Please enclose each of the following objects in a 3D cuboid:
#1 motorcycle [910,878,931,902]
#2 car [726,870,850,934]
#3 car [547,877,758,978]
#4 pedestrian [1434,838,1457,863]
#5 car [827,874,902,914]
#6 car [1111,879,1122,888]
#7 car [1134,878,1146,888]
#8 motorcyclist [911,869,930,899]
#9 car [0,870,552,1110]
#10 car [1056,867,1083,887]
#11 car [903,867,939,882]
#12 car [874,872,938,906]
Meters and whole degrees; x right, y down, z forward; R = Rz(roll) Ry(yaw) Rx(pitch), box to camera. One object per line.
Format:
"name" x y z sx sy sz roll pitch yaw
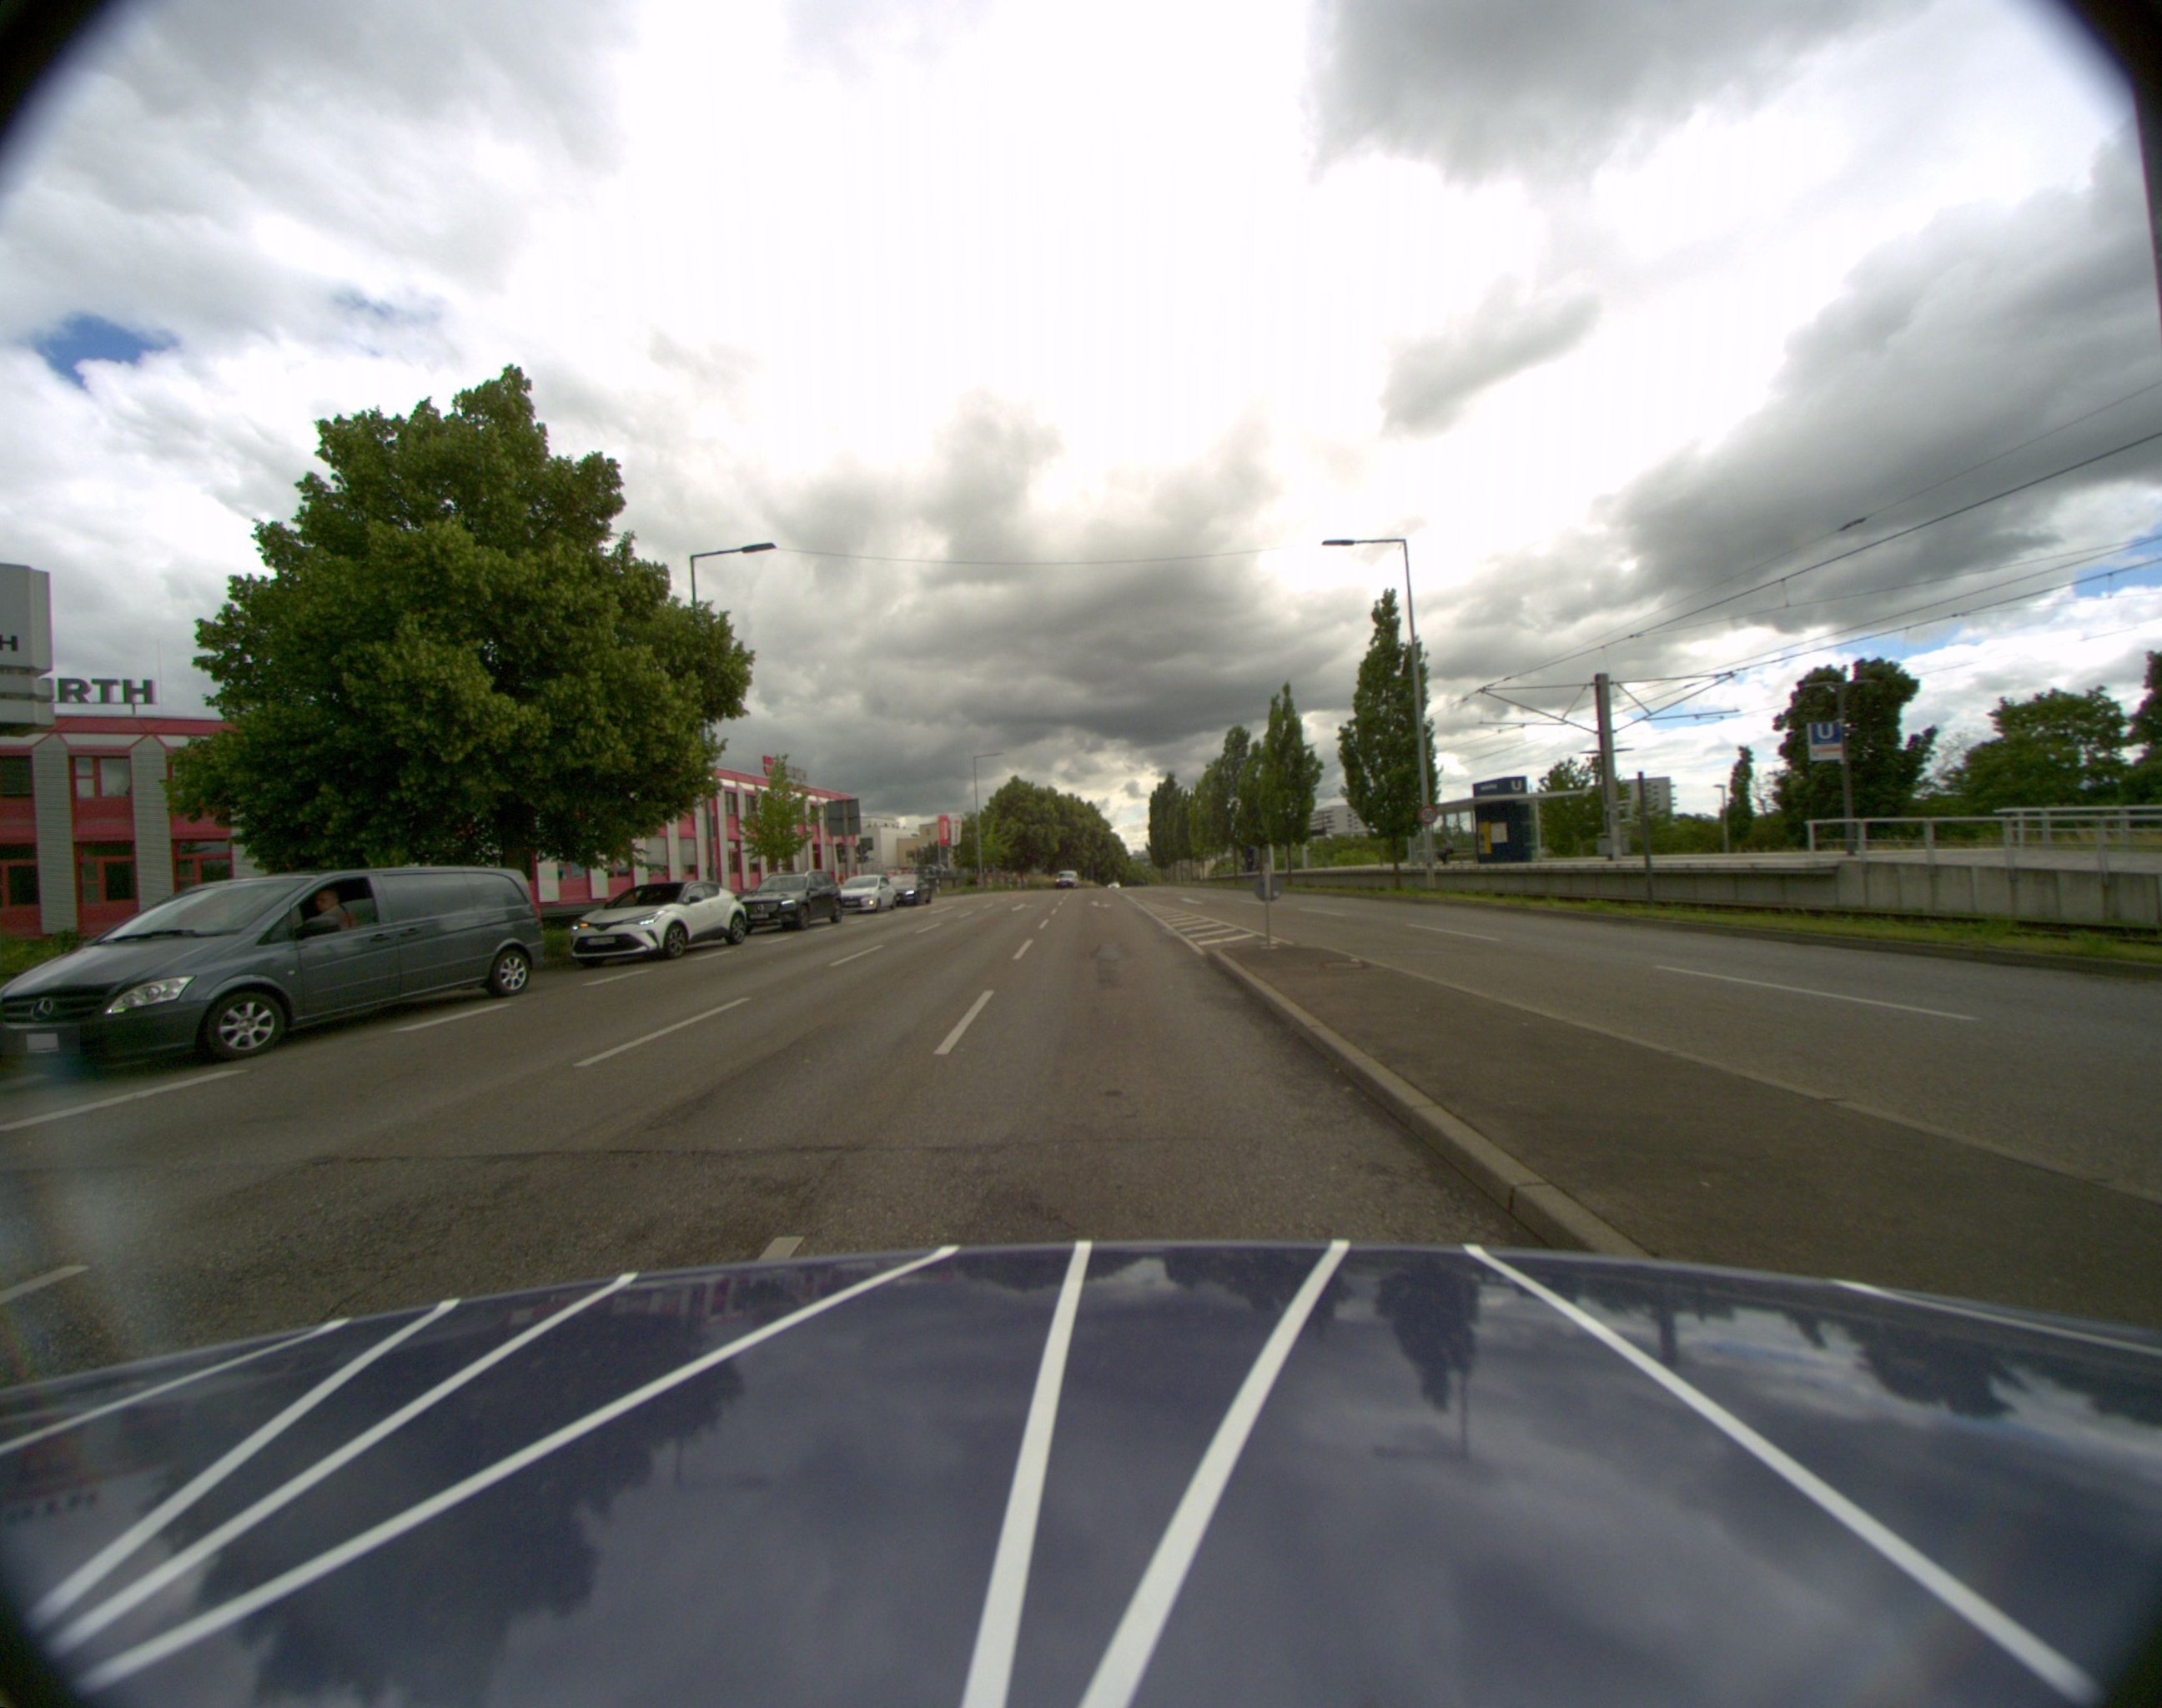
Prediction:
"motorcycle" -8.330 1.861 39.511 0.750 1.140 1.943 -4 -1 -3
"car" -8.381 1.325 22.212 1.785 1.639 4.427 -1 -2 1
"car" -8.567 1.379 15.716 1.785 1.526 4.305 -5 0 0
"pedestrian" 17.614 -0.172 36.733 0.663 1.195 0.782 -2 0 -7
"car" -8.479 1.553 30.105 1.785 1.434 3.836 -1 -2 1
"car" 5.883 4.912 125.557 1.784 1.353 4.483 1 -3 4
"car" 10.723 5.227 137.970 1.869 1.674 4.843 -2 -3 5
"motorcyclist" -8.358 1.546 39.651 0.750 1.481 0.933 -4 -1 -3
"car" -8.844 1.224 8.742 1.921 1.823 4.722 -5 0 2
"car" -1.100 2.246 74.915 1.998 1.791 4.841 -2 0 6
"car" -21.226 2.686 101.004 4.248 1.744 1.784 -2 0 2
"car" -8.027 1.589 35.205 1.785 1.437 4.530 -1 -2 1
